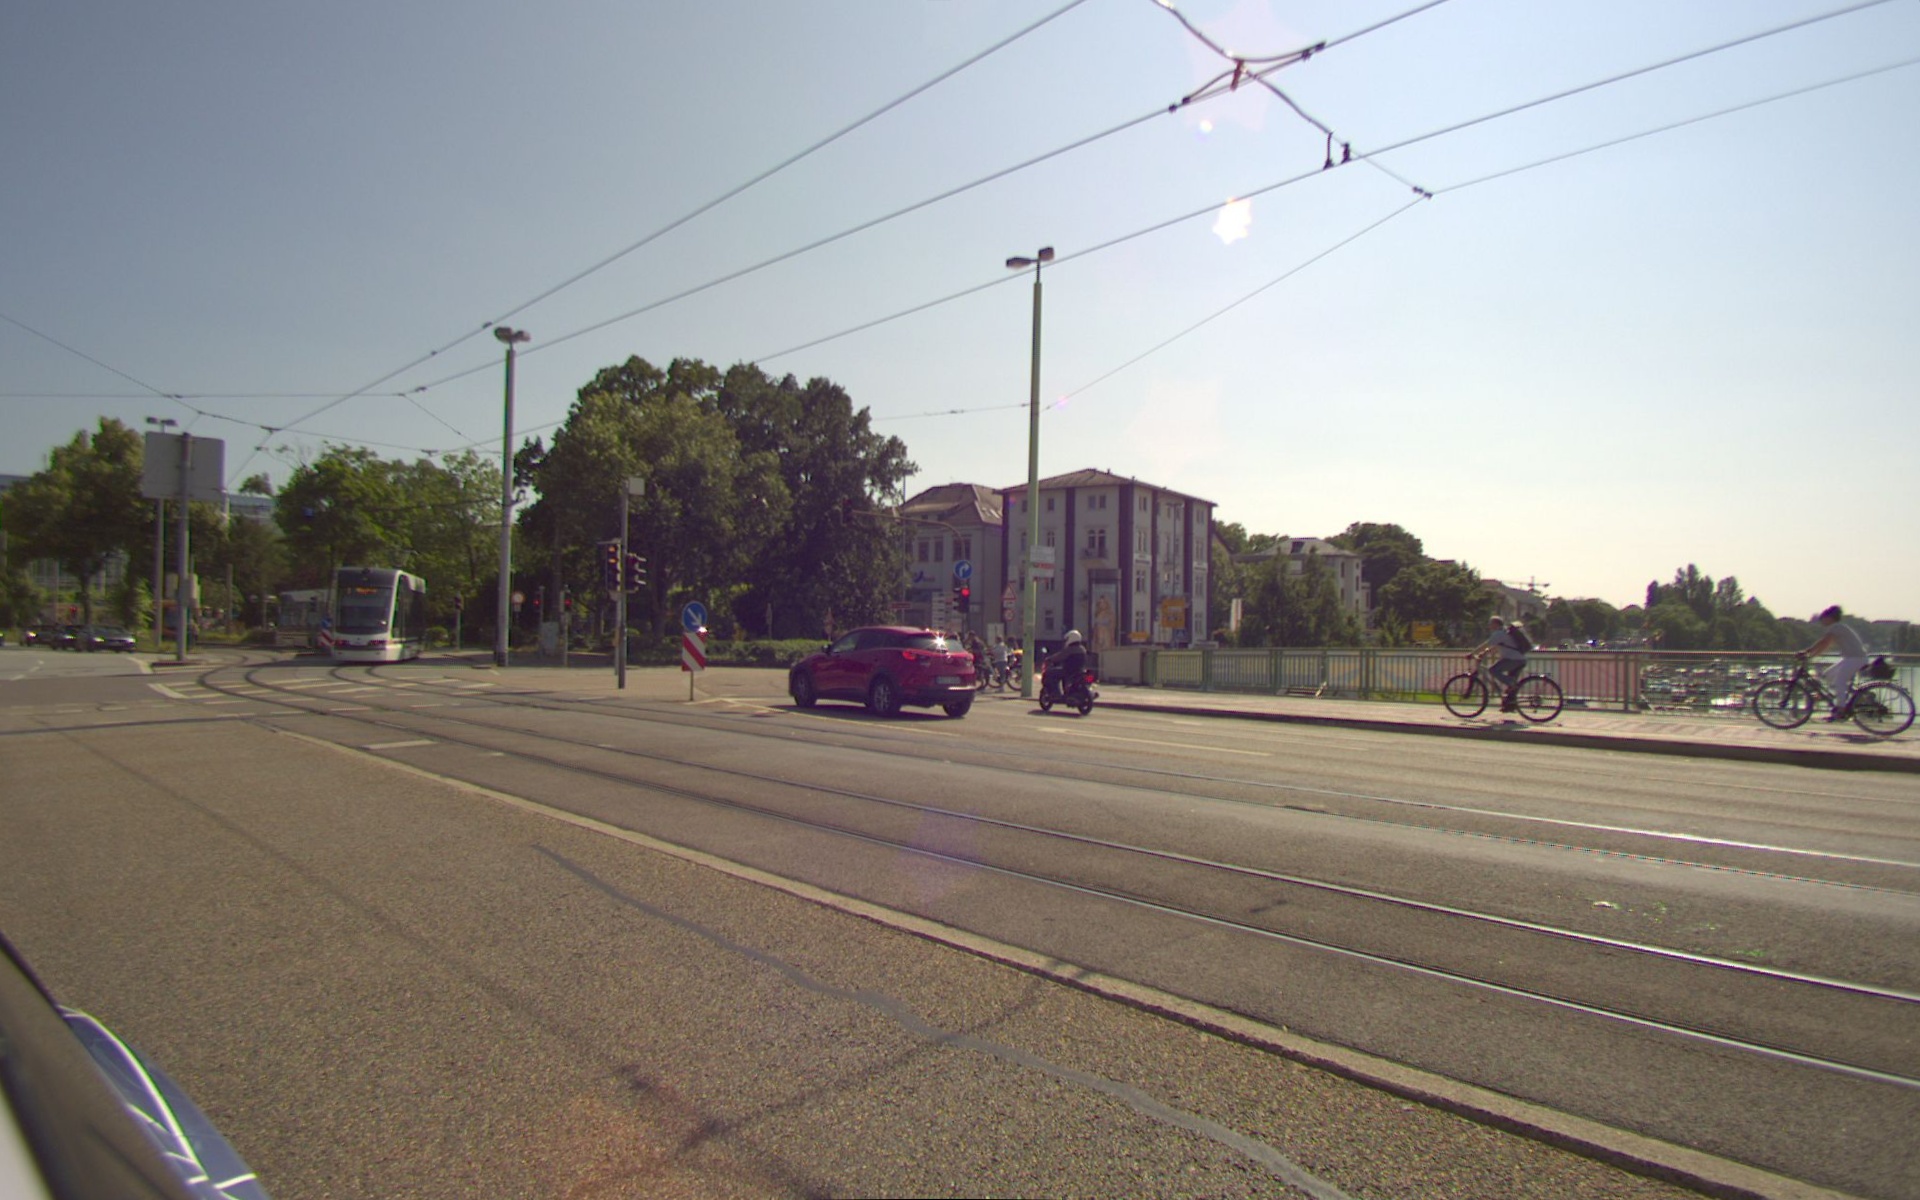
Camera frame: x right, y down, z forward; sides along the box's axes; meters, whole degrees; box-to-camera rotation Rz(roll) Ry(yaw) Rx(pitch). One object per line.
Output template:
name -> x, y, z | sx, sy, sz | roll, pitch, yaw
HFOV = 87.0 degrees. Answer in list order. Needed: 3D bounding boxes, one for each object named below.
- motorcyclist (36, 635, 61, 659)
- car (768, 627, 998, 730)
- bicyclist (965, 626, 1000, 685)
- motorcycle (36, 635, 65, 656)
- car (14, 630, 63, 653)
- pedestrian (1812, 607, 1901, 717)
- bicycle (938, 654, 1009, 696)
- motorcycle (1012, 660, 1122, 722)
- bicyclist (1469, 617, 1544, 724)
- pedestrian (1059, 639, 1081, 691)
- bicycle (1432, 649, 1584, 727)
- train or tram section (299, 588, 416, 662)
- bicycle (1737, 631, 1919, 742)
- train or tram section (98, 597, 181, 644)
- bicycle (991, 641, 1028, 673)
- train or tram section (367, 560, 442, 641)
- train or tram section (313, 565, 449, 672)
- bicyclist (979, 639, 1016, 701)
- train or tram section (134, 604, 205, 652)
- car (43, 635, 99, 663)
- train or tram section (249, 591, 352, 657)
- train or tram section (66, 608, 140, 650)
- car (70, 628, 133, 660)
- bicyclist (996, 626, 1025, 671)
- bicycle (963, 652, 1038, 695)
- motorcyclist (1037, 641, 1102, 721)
motorcyclist -> -53.899, 2.781, 59.855 | 0.992, 1.369, 0.891 | -1, -3, 38
car -> -1.465, 1.280, 17.876 | 1.969, 1.526, 4.196 | 2, -2, -40
bicyclist -> 0.626, 1.563, 28.477 | 0.866, 1.621, 0.773 | 1, -1, -8
motorcycle -> -53.584, 2.674, 59.618 | 2.350, 1.172, 0.891 | -1, -3, 39
car -> -57.267, 2.575, 62.852 | 3.910, 1.318, 1.617 | -1, -3, 39
pedestrian -> 12.445, 0.835, 14.050 | 0.899, 1.466, 0.735 | 0, -2, 44
bicycle -> 0.378, 2.092, 28.434 | 1.890, 1.122, 0.762 | 1, -1, -7
motorcycle -> 1.995, 1.687, 19.044 | 1.951, 1.033, 0.835 | -1, -2, 43
bicyclist -> 8.591, 1.100, 15.899 | 0.866, 1.621, 0.772 | 4, -5, -44
pedestrian -> 3.857, 2.274, 35.573 | 0.686, 1.806, 0.700 | 1, -2, 1
bicycle -> 8.576, 1.352, 15.888 | 0.750, 1.122, 1.921 | -1, -2, -44
train or tram section -> -34.043, 1.328, 57.028 | 9.158, 3.806, 2.512 | 1, -1, 39
bicycle -> 12.288, 1.172, 14.171 | 2.162, 1.410, 0.697 | -1, 1, 42
train or tram section -> -65.289, 1.677, 80.393 | 12.401, 3.429, 2.732 | -1, -3, 40
bicycle -> 1.858, 2.126, 38.271 | 0.748, 1.122, 1.926 | 2, -1, -18
train or tram section -> -27.897, 0.196, 50.585 | 2.371, 3.709, 9.644 | 2, -3, -34
train or tram section -> -23.603, 0.885, 41.949 | 2.435, 3.806, 11.885 | 1, -2, -18
bicyclist -> 1.014, 1.885, 27.436 | 0.759, 1.621, 0.882 | 1, -1, -13
train or tram section -> -58.206, 2.075, 74.475 | 5.880, 3.429, 2.733 | -1, -3, 39
car -> -48.399, 2.652, 55.066 | 3.999, 1.422, 1.774 | -1, -3, 42
train or tram section -> -40.889, 1.504, 62.608 | 9.159, 3.806, 2.512 | -1, -4, 39
train or tram section -> -74.850, 2.516, 88.276 | 12.400, 3.429, 2.732 | -1, -3, 40
car -> -43.545, 2.213, 51.301 | 4.745, 1.497, 1.729 | -1, -4, 41
bicyclist -> 1.900, 1.824, 38.241 | 0.865, 1.687, 0.774 | 1, -1, -17
bicycle -> 1.101, 1.986, 27.456 | 1.888, 1.122, 0.763 | 1, -1, -12
motorcyclist -> 2.051, 1.492, 18.983 | 0.897, 1.412, 0.836 | -1, -1, 42
